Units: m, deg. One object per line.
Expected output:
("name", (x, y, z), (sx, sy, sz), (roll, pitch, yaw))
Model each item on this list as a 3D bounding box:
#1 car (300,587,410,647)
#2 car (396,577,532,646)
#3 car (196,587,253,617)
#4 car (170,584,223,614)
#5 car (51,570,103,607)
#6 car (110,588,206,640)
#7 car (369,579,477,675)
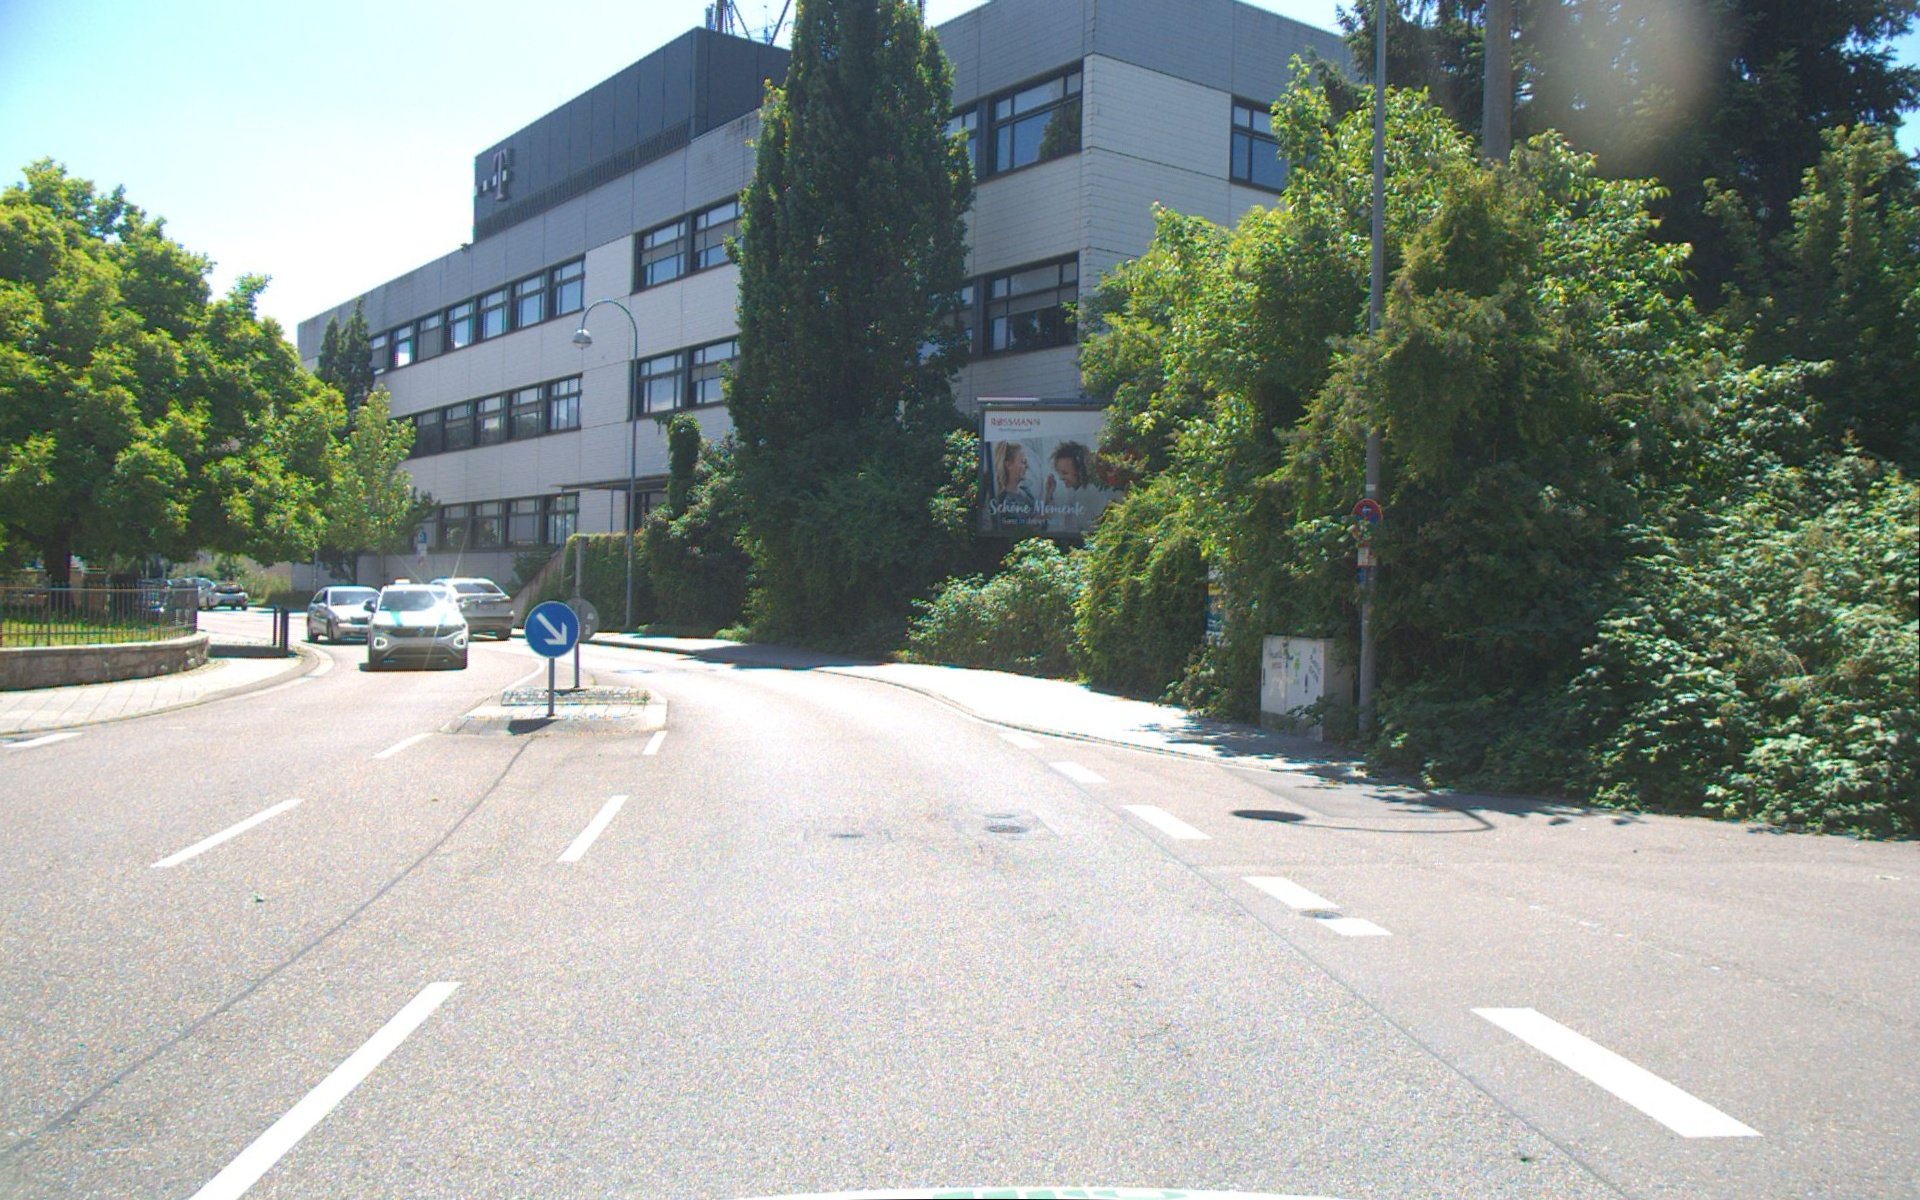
("car", (-15.694, 0.409, 42.806), (1.743, 1.460, 4.253), (0, 0, -34))
("car", (-13.712, 0.268, 45.553), (1.925, 1.641, 4.407), (-6, 4, -40))
("car", (-35.921, 0.074, 80.695), (1.846, 1.397, 3.951), (2, -1, -35))
("car", (-39.352, -0.071, 85.215), (1.646, 1.514, 4.288), (0, 1, -37))
("car", (-55.094, -0.759, 103.139), (2.055, 2.235, 5.069), (-1, 1, -38))
("car", (-25.708, 0.413, 52.930), (1.911, 1.461, 4.600), (5, -2, -36))
("car", (-10.442, 0.480, 32.273), (1.843, 1.651, 4.283), (2, 1, -17))
